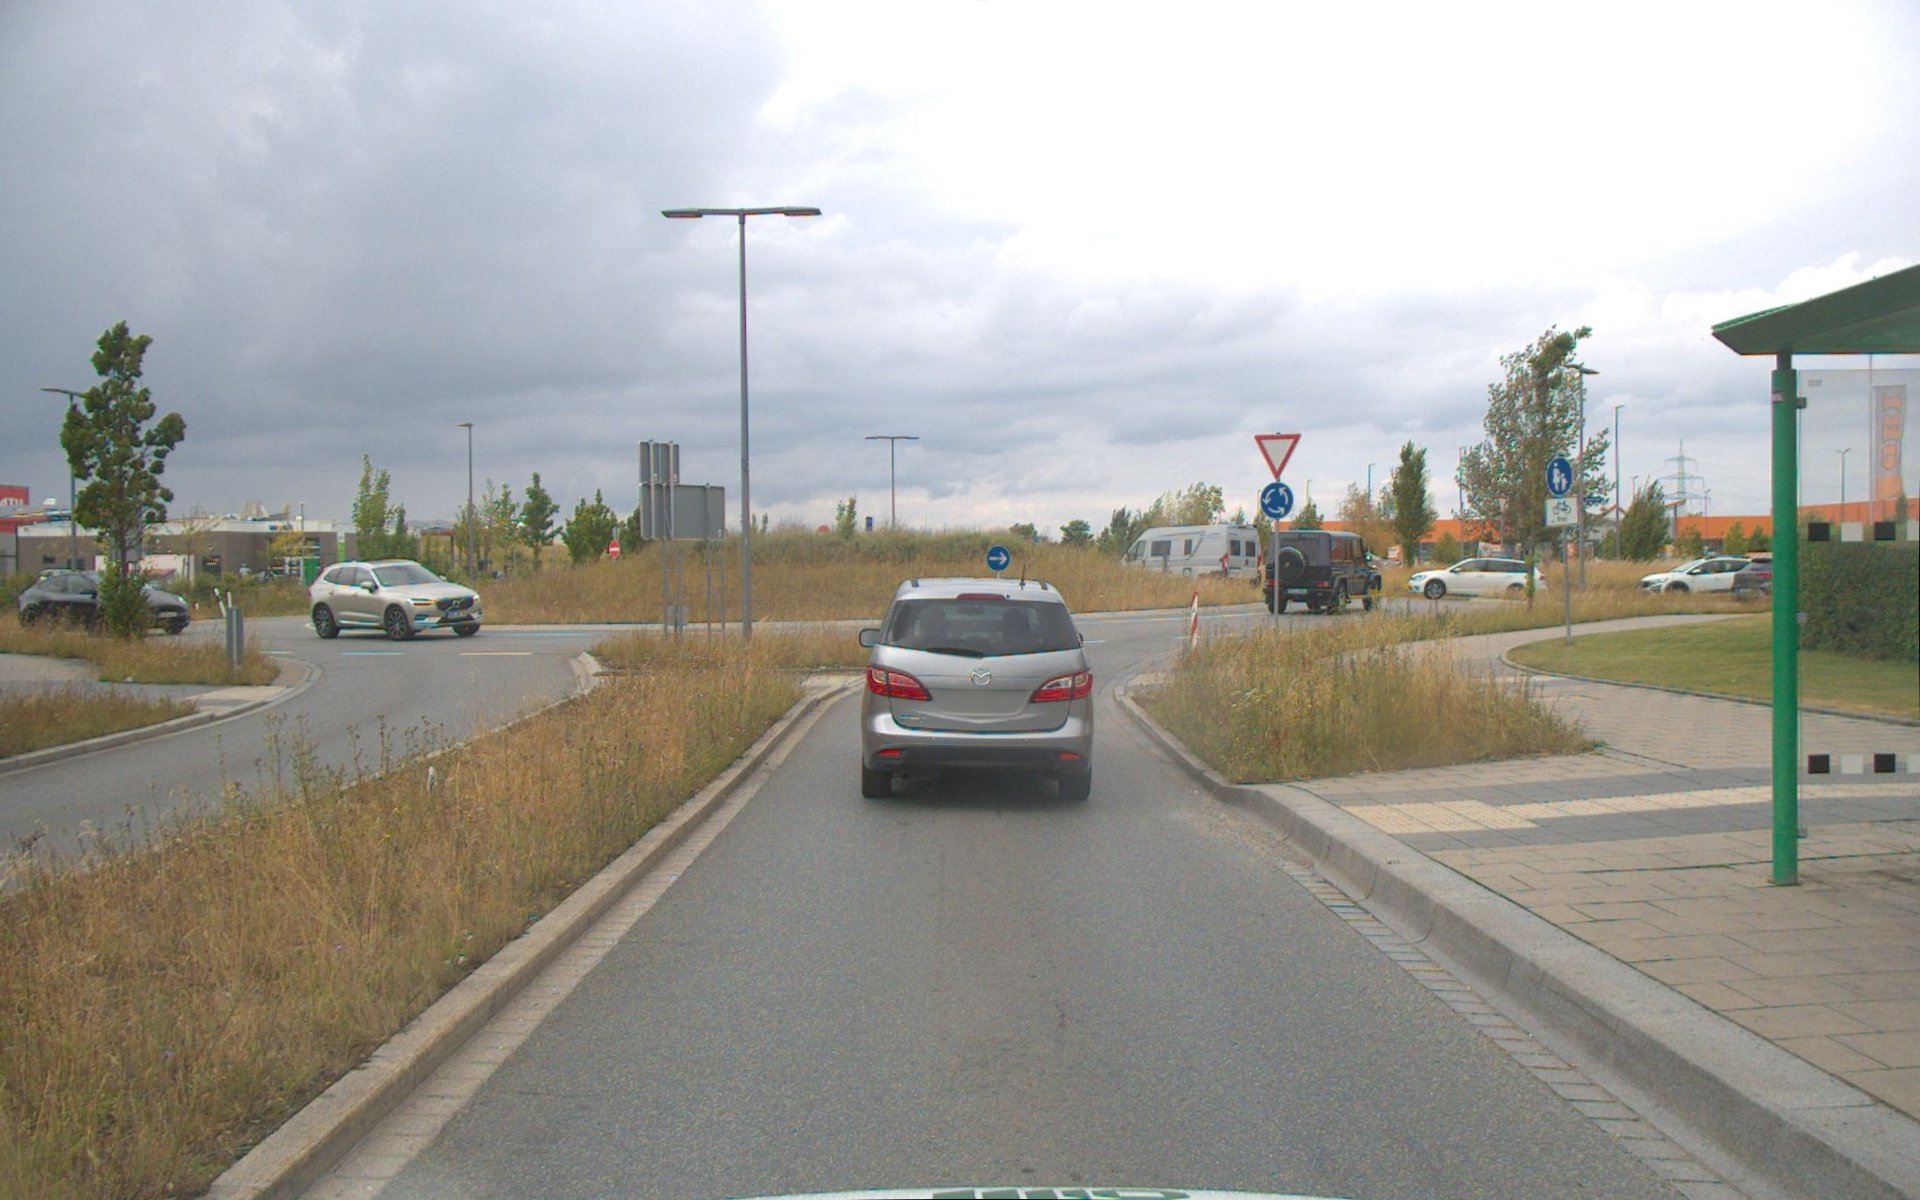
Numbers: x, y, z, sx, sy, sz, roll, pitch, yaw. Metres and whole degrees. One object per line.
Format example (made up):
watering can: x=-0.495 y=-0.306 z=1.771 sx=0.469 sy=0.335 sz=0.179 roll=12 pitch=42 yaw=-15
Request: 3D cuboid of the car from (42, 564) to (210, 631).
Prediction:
car: x=-20.911 y=-0.106 z=41.419 sx=4.683 sy=1.524 sz=1.936 roll=1 pitch=4 yaw=38

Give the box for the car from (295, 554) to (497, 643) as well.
car: x=-12.402 y=-0.083 z=36.281 sx=4.683 sy=1.768 sz=1.936 roll=1 pitch=4 yaw=38

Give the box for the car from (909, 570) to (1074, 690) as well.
car: x=0.552 y=0.366 z=24.447 sx=1.701 sy=1.427 sz=4.003 roll=1 pitch=4 yaw=12

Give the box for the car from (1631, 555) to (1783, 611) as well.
car: x=24.408 y=-0.559 z=54.205 sx=4.234 sy=1.676 sz=1.872 roll=-1 pitch=3 yaw=13

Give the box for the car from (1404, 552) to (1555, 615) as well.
car: x=17.351 y=-0.564 z=55.496 sx=4.657 sy=1.919 sz=2.087 roll=-1 pitch=3 yaw=13

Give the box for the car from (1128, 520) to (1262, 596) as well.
car: x=8.483 y=-1.547 z=60.065 sx=2.064 sy=2.588 sz=4.708 roll=-4 pitch=3 yaw=-38

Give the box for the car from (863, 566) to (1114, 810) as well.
car: x=0.167 y=0.568 z=13.385 sx=1.702 sy=1.626 sz=3.997 roll=1 pitch=2 yaw=-1

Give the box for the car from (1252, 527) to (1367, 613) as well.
car: x=8.732 y=-0.784 z=41.019 sx=2.035 sy=1.919 sz=4.777 roll=0 pitch=3 yaw=21
